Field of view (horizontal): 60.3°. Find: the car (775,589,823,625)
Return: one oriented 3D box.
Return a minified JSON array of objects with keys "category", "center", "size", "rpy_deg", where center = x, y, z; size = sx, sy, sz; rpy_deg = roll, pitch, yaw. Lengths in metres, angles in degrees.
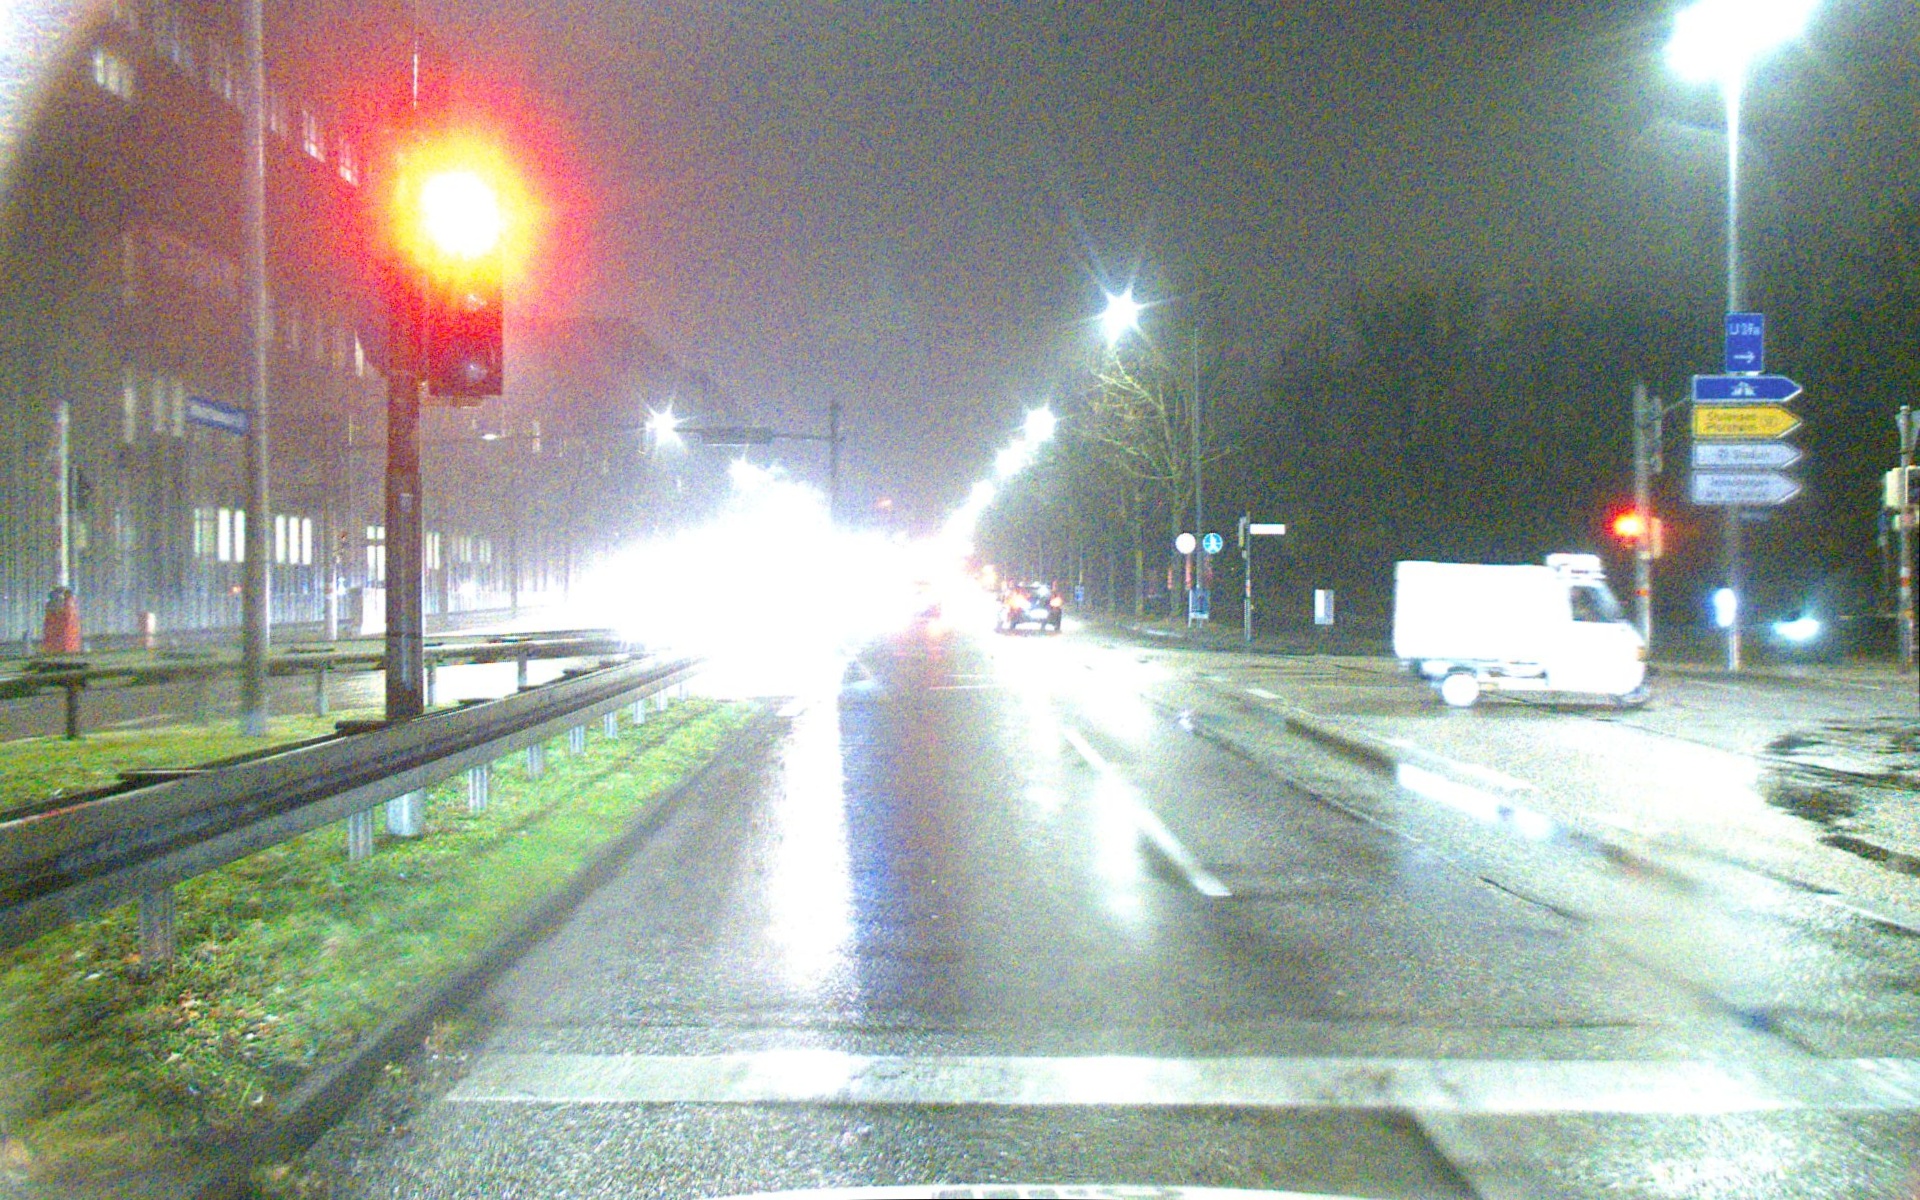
[{"category":"car","center":[-7.672,0.341,79.103],"size":[1.953,1.638,4.968],"rpy_deg":[0,0,-2]}]

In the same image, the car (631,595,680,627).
[{"category":"car","center":[-15.220,0.557,82.785],"size":[1.764,1.591,3.999],"rpy_deg":[0,0,-1]}]

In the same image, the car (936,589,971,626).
[{"category":"car","center":[-0.358,0.440,95.878],"size":[1.996,2.119,4.306],"rpy_deg":[0,0,0]}]

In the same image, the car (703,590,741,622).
[{"category":"car","center":[-13.578,0.330,94.570],"size":[1.715,1.738,4.496],"rpy_deg":[-1,0,-3]}]

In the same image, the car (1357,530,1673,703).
[{"category":"car","center":[6.830,0.195,20.653],"size":[3.480,2.049,1.705],"rpy_deg":[0,-1,8]}]

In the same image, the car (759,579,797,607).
[{"category":"car","center":[-10.703,-0.395,97.554],"size":[1.847,1.579,4.432],"rpy_deg":[0,0,-1]}]

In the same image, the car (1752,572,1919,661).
[{"category":"car","center":[18.833,0.338,34.375],"size":[3.902,1.811,1.910],"rpy_deg":[0,-1,9]}]

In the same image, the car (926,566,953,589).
[{"category":"car","center":[-2.088,-2.208,164.007],"size":[2.393,2.232,5.075],"rpy_deg":[0,0,-4]}]

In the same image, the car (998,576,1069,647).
[{"category":"car","center":[2.396,0.381,54.939],"size":[2.163,2.253,3.642],"rpy_deg":[0,-1,-1]}]

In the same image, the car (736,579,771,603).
[{"category":"car","center":[-14.029,-0.573,112.690],"size":[1.847,1.579,4.432],"rpy_deg":[0,0,-1]}]

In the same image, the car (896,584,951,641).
[{"category":"car","center":[-1.351,0.467,61.556],"size":[1.953,2.049,3.999],"rpy_deg":[0,0,-1]}]

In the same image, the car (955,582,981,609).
[{"category":"car","center":[0.660,-0.347,129.778],"size":[1.996,2.049,4.307],"rpy_deg":[0,0,1]}]

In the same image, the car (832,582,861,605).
[{"category":"car","center":[-8.202,-0.464,120.091],"size":[1.847,1.579,4.432],"rpy_deg":[0,0,-1]}]
